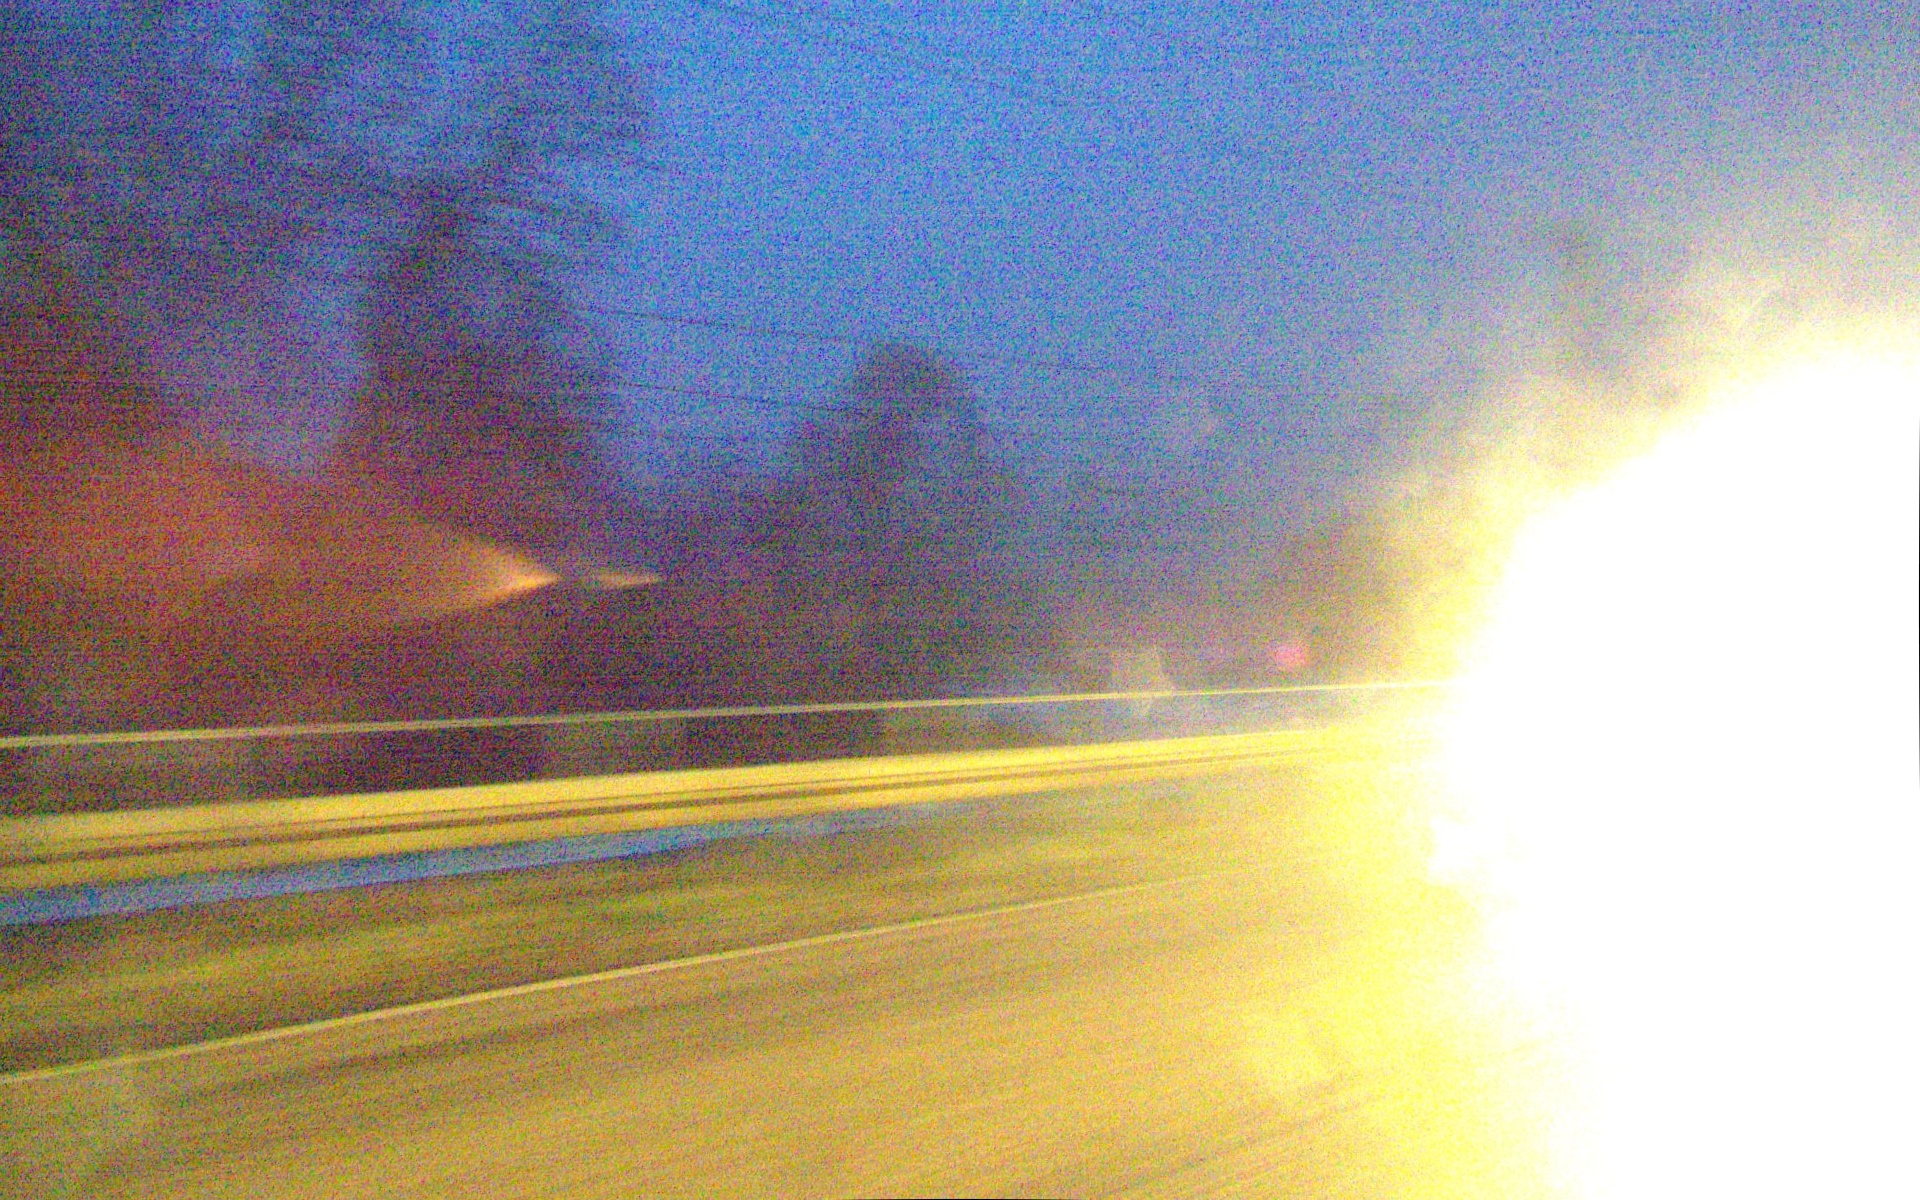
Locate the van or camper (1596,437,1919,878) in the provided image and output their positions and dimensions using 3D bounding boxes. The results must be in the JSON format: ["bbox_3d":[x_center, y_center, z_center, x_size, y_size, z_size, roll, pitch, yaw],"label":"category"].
[{"bbox_3d":[7.754,0.427,8.039,5.717,2.599,2.113,1,-3,-31],"label":"van or camper"}]
